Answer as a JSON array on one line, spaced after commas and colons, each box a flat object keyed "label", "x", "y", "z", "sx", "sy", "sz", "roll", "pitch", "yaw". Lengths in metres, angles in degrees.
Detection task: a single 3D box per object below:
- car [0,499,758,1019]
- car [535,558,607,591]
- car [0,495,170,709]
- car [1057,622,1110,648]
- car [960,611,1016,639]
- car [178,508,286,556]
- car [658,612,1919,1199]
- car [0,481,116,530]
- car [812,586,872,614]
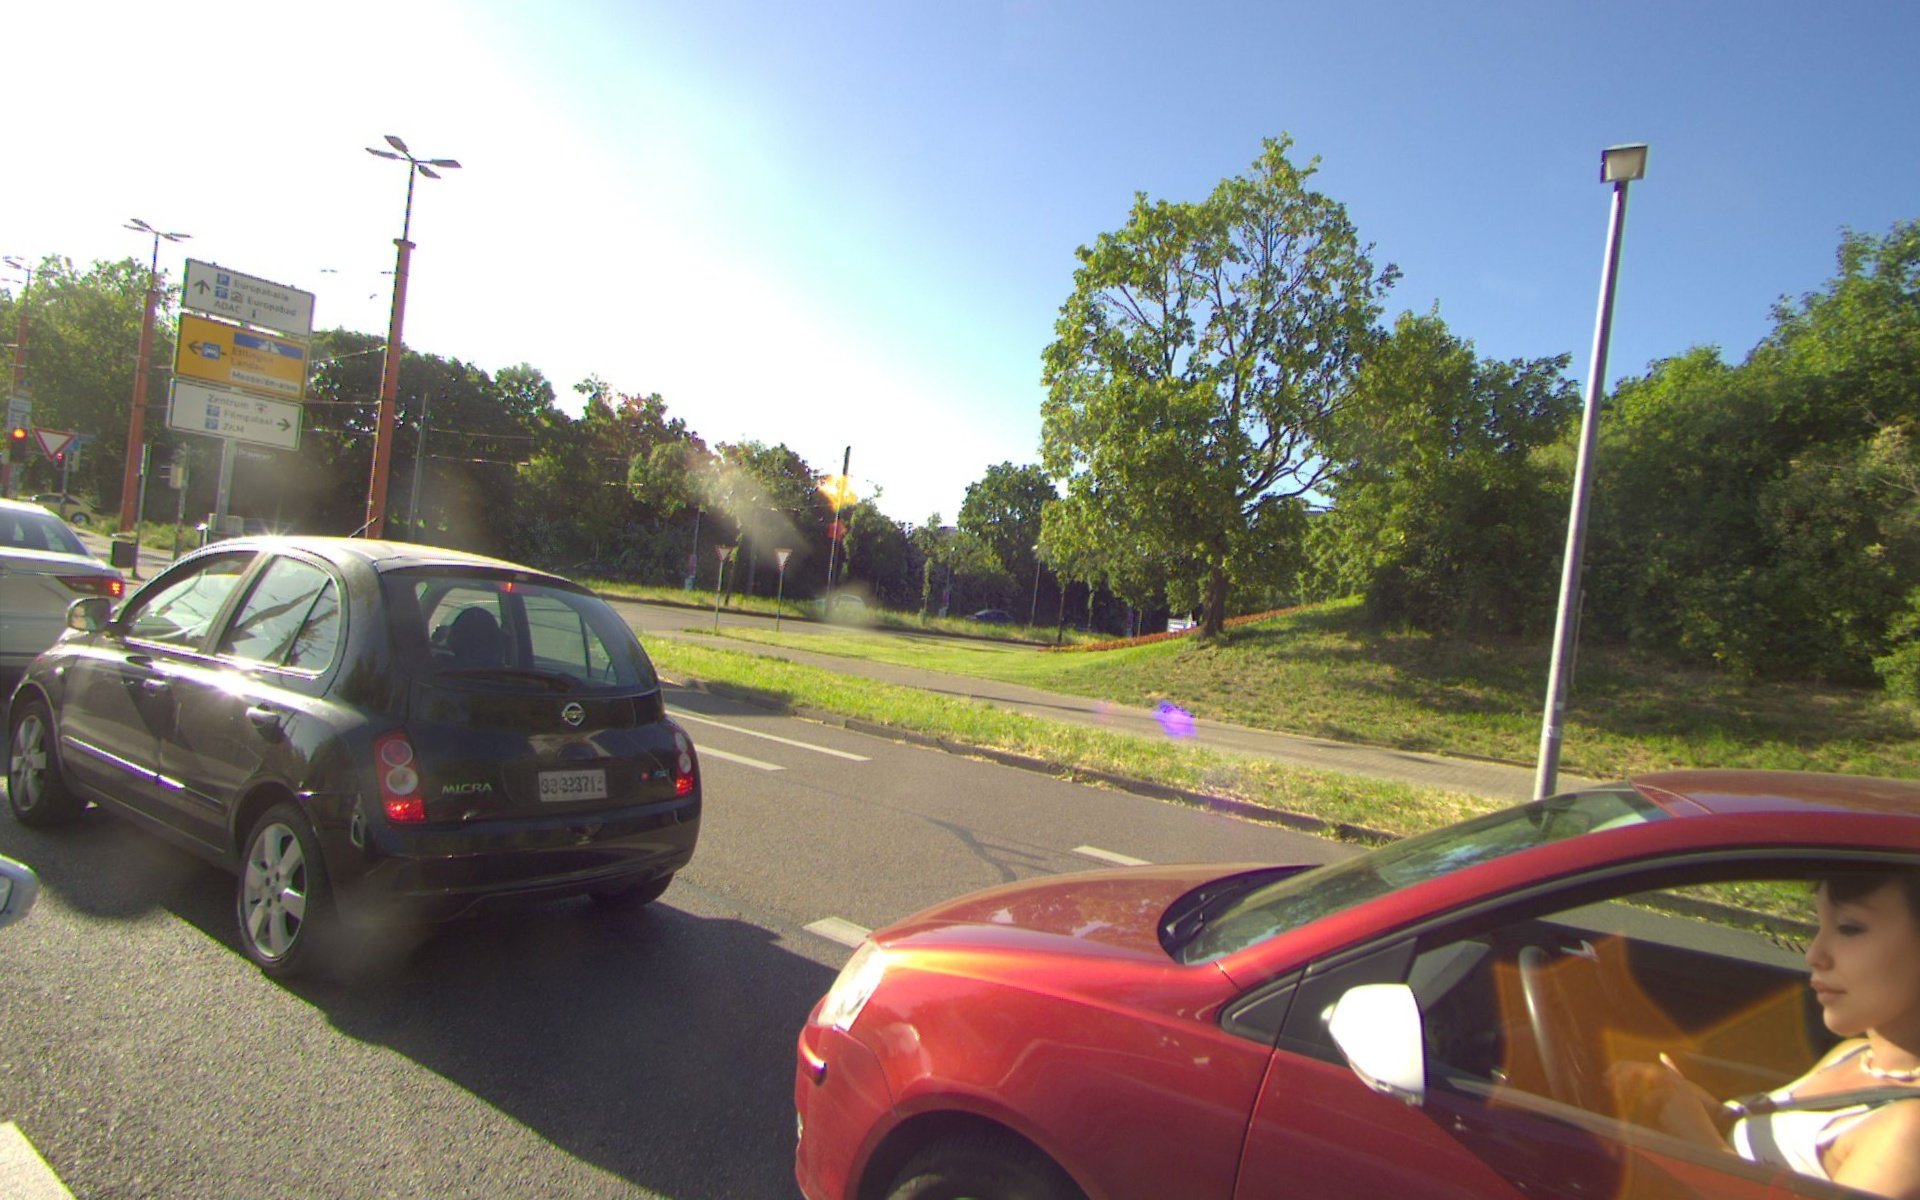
[{"label": "car", "x": -2.797, "y": 0.468, "z": 4.621, "sx": 3.385, "sy": 1.457, "sz": 1.579, "roll": 6, "pitch": -2, "yaw": 32}, {"label": "car", "x": -24.307, "y": -1.606, "z": 62.881, "sx": 3.887, "sy": 1.474, "sz": 1.643, "roll": 8, "pitch": -1, "yaw": -32}, {"label": "car", "x": -8.369, "y": -0.174, "z": 8.076, "sx": 4.256, "sy": 1.457, "sz": 1.802, "roll": 6, "pitch": -2, "yaw": 33}, {"label": "car", "x": 10.193, "y": 2.882, "z": 82.838, "sx": 4.105, "sy": 1.528, "sz": 1.644, "roll": 8, "pitch": -1, "yaw": -31}, {"label": "car", "x": 2.097, "y": 1.875, "z": 74.652, "sx": 3.764, "sy": 1.528, "sz": 1.644, "roll": 8, "pitch": -1, "yaw": -31}, {"label": "car", "x": -36.325, "y": -3.375, "z": 50.303, "sx": 4.180, "sy": 1.701, "sz": 1.641, "roll": 8, "pitch": -1, "yaw": -35}, {"label": "car", "x": 1.346, "y": 1.004, "z": 1.865, "sx": 3.629, "sy": 1.477, "sz": 1.579, "roll": 6, "pitch": -2, "yaw": 32}, {"label": "car", "x": -45.013, "y": -4.659, "z": 50.144, "sx": 4.176, "sy": 1.701, "sz": 1.643, "roll": 8, "pitch": -1, "yaw": -32}, {"label": "car", "x": -8.487, "y": -0.001, "z": 72.483, "sx": 3.888, "sy": 1.474, "sz": 1.643, "roll": 8, "pitch": -1, "yaw": -32}]
